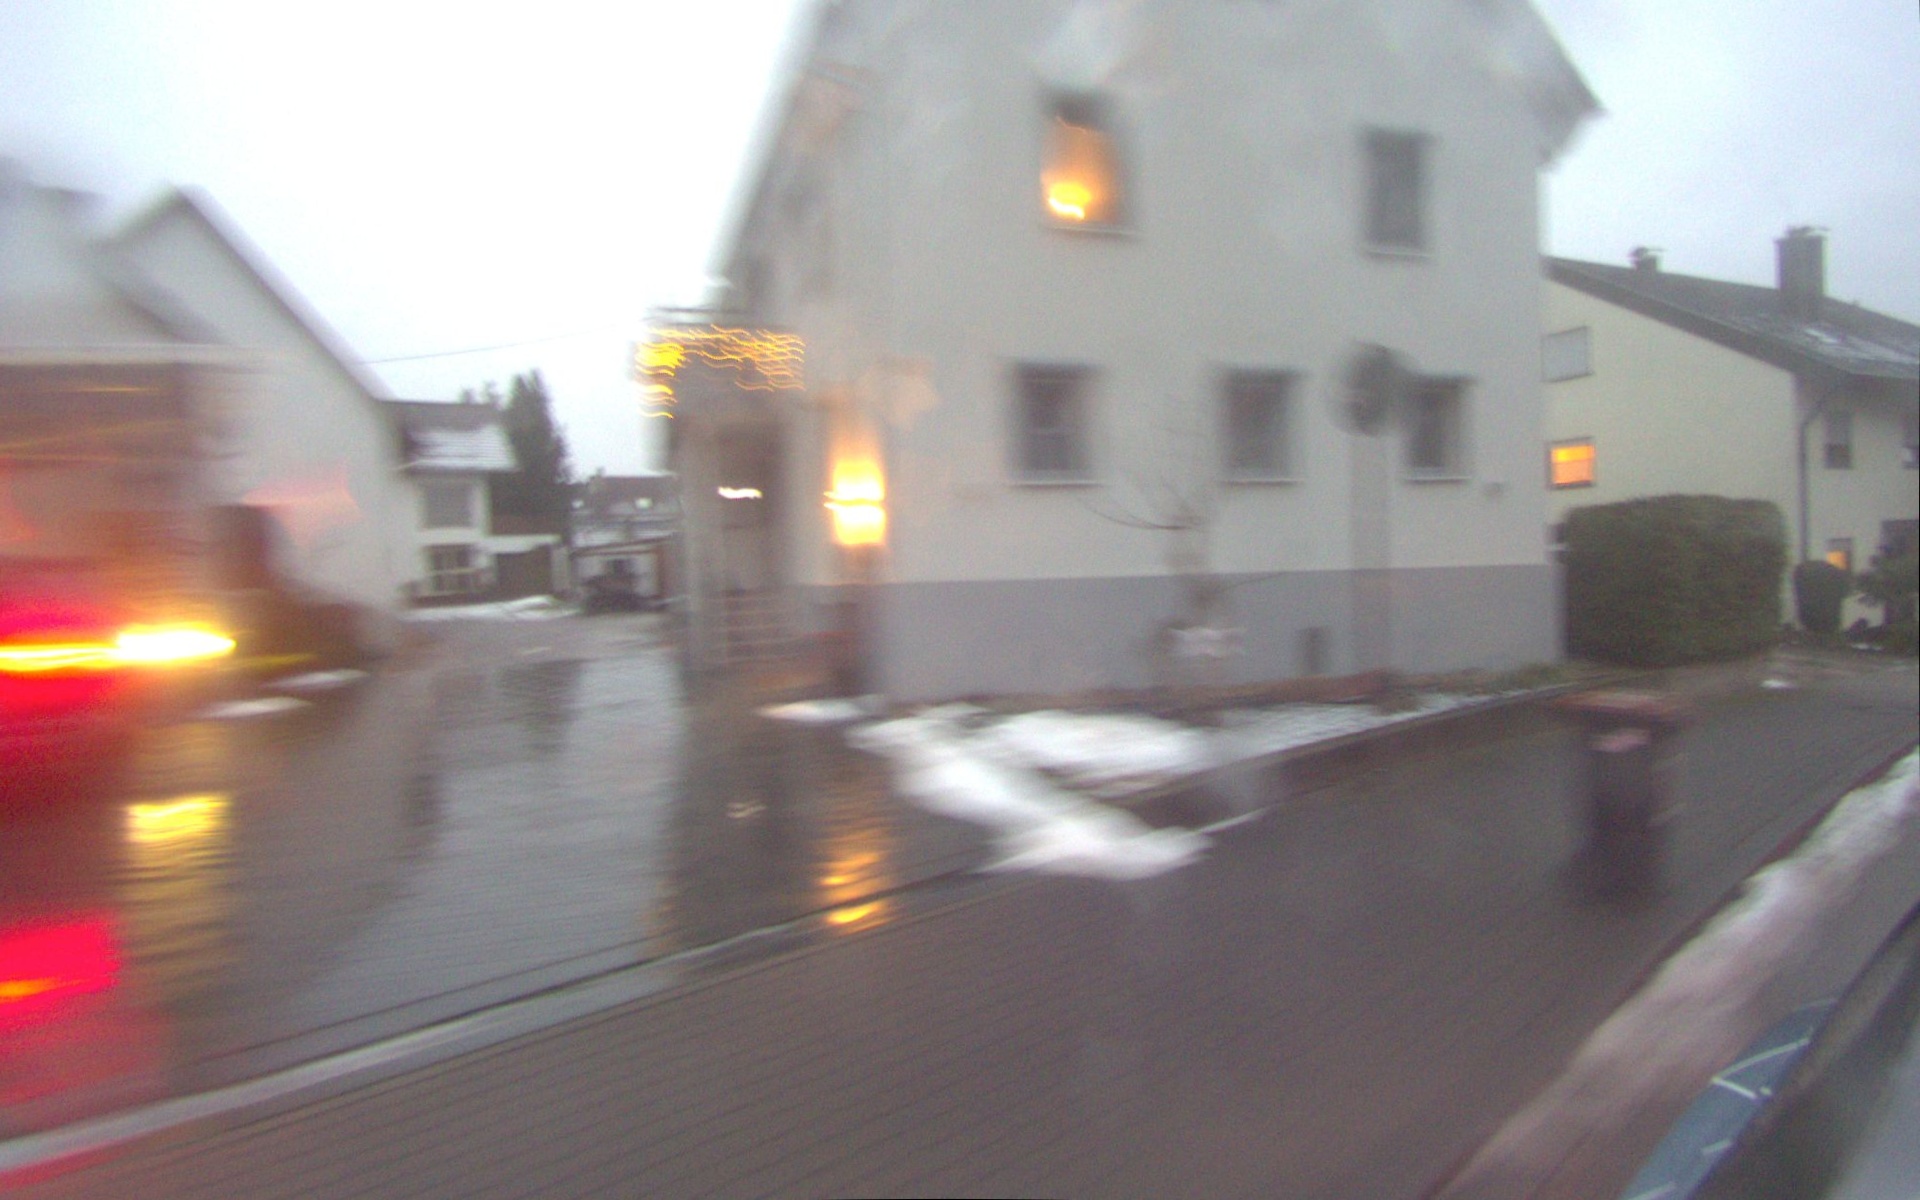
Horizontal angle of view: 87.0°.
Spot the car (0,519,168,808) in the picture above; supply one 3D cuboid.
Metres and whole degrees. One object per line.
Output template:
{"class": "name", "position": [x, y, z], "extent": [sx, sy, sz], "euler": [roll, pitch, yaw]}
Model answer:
{"class": "car", "position": [-6.918, 0.400, 7.124], "extent": [1.963, 1.639, 3.997], "euler": [1, -2, -36]}

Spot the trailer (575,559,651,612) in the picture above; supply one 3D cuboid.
{"class": "trailer", "position": [-9.844, -0.432, 28.587], "extent": [1.581, 1.337, 3.790], "euler": [-3, 3, -25]}

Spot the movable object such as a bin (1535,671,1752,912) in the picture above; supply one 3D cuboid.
{"class": "movable object such as a bin", "position": [3.148, 0.827, 4.671], "extent": [0.673, 0.928, 0.638], "euler": [-1, 0, -37]}
